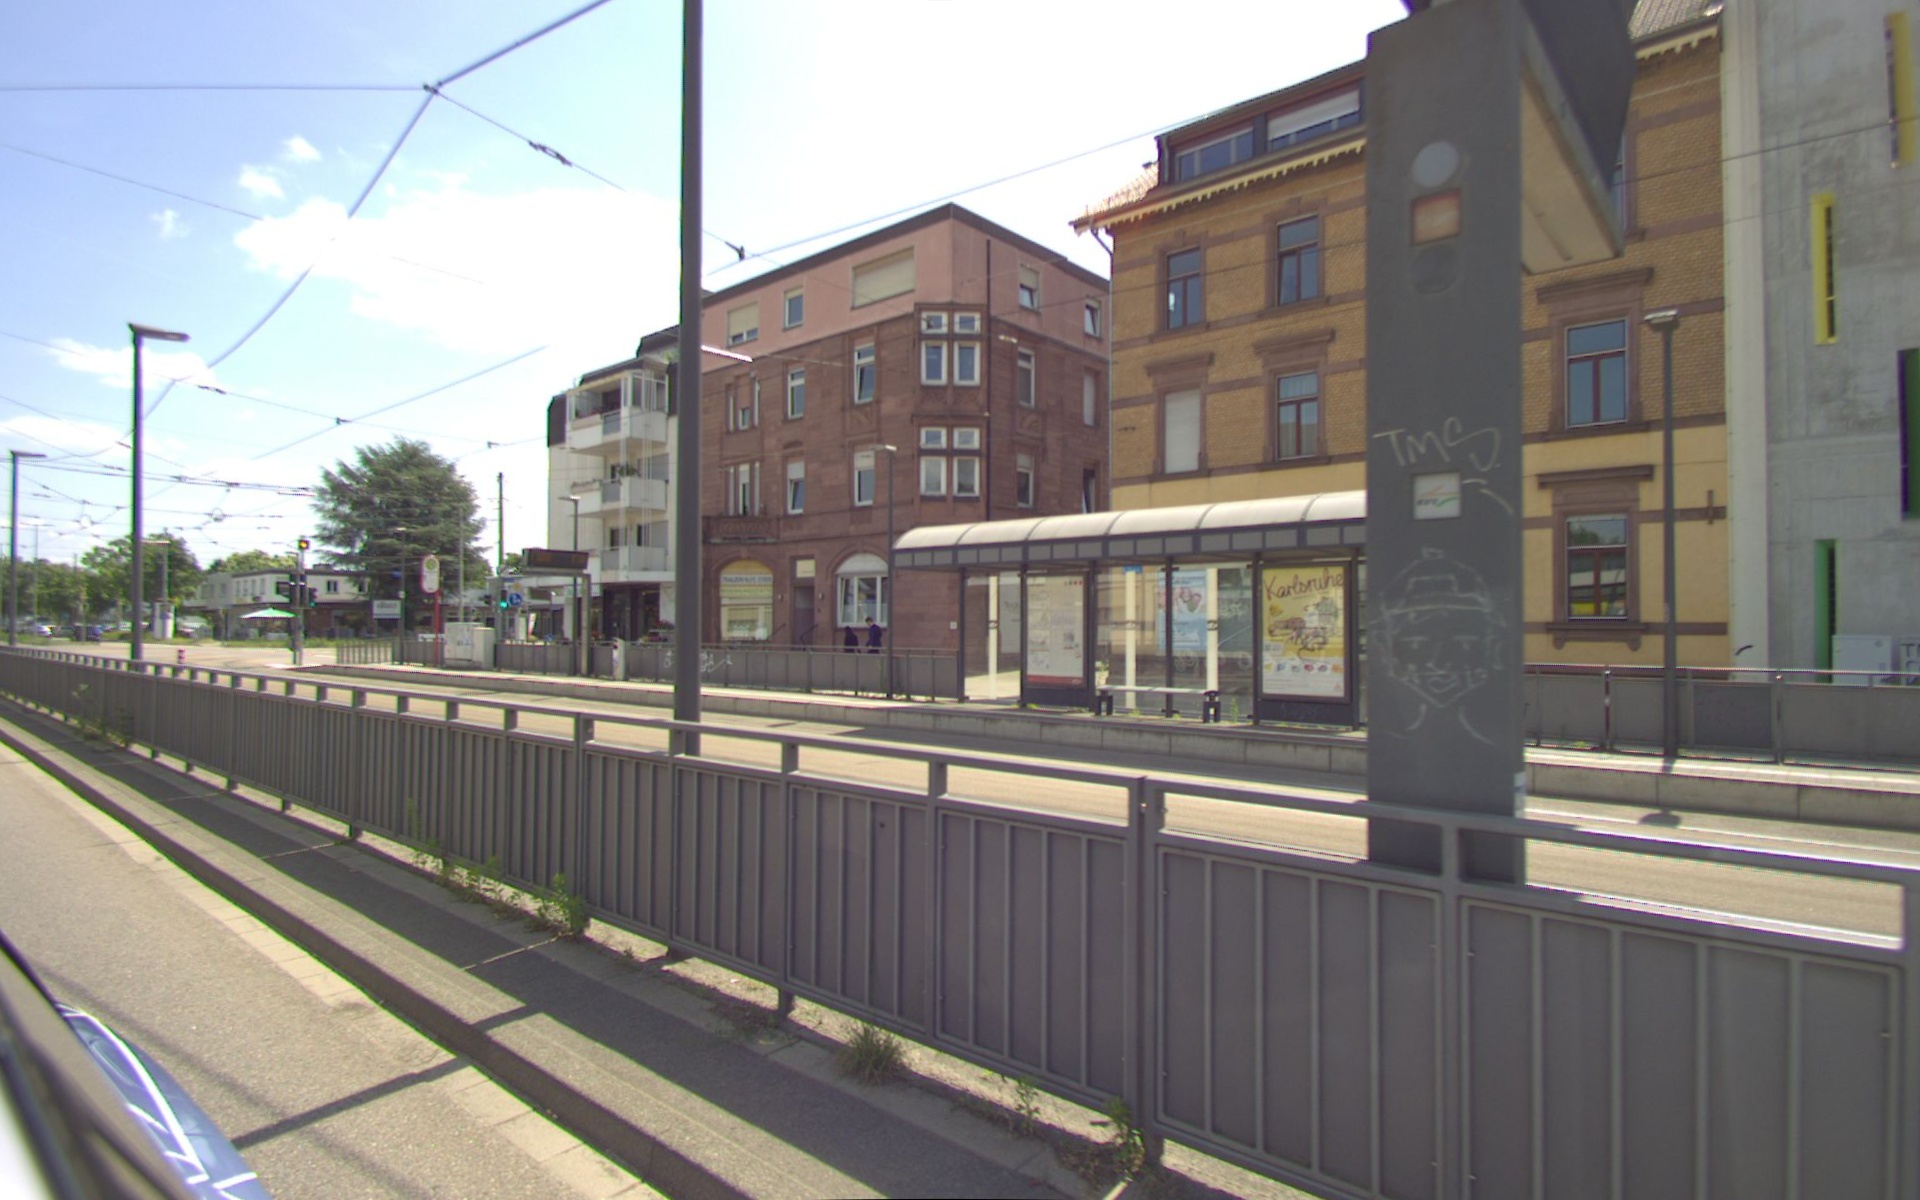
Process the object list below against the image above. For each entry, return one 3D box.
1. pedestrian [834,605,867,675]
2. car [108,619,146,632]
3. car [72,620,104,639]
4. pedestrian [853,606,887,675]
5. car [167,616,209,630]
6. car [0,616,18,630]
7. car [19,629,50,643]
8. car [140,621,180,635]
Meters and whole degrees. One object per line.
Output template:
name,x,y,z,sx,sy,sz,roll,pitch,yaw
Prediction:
pedestrian,-3.211,1.158,29.709,0.684,2.029,0.670,0,-1,39
car,-121.271,3.779,147.387,1.803,1.749,3.944,0,-3,42
car,-80.097,2.728,92.953,4.279,1.696,1.704,-2,-4,43
pedestrian,-2.711,1.211,30.438,0.809,2.029,0.611,-1,-3,39
car,-139.242,4.195,182.643,2.257,2.500,5.627,-1,-2,38
car,-155.268,3.720,164.847,4.485,2.117,2.045,0,0,40
car,-100.283,3.912,109.695,4.399,1.482,1.973,-1,-2,41
car,-106.916,3.762,135.287,1.879,1.749,3.944,-1,-2,42
